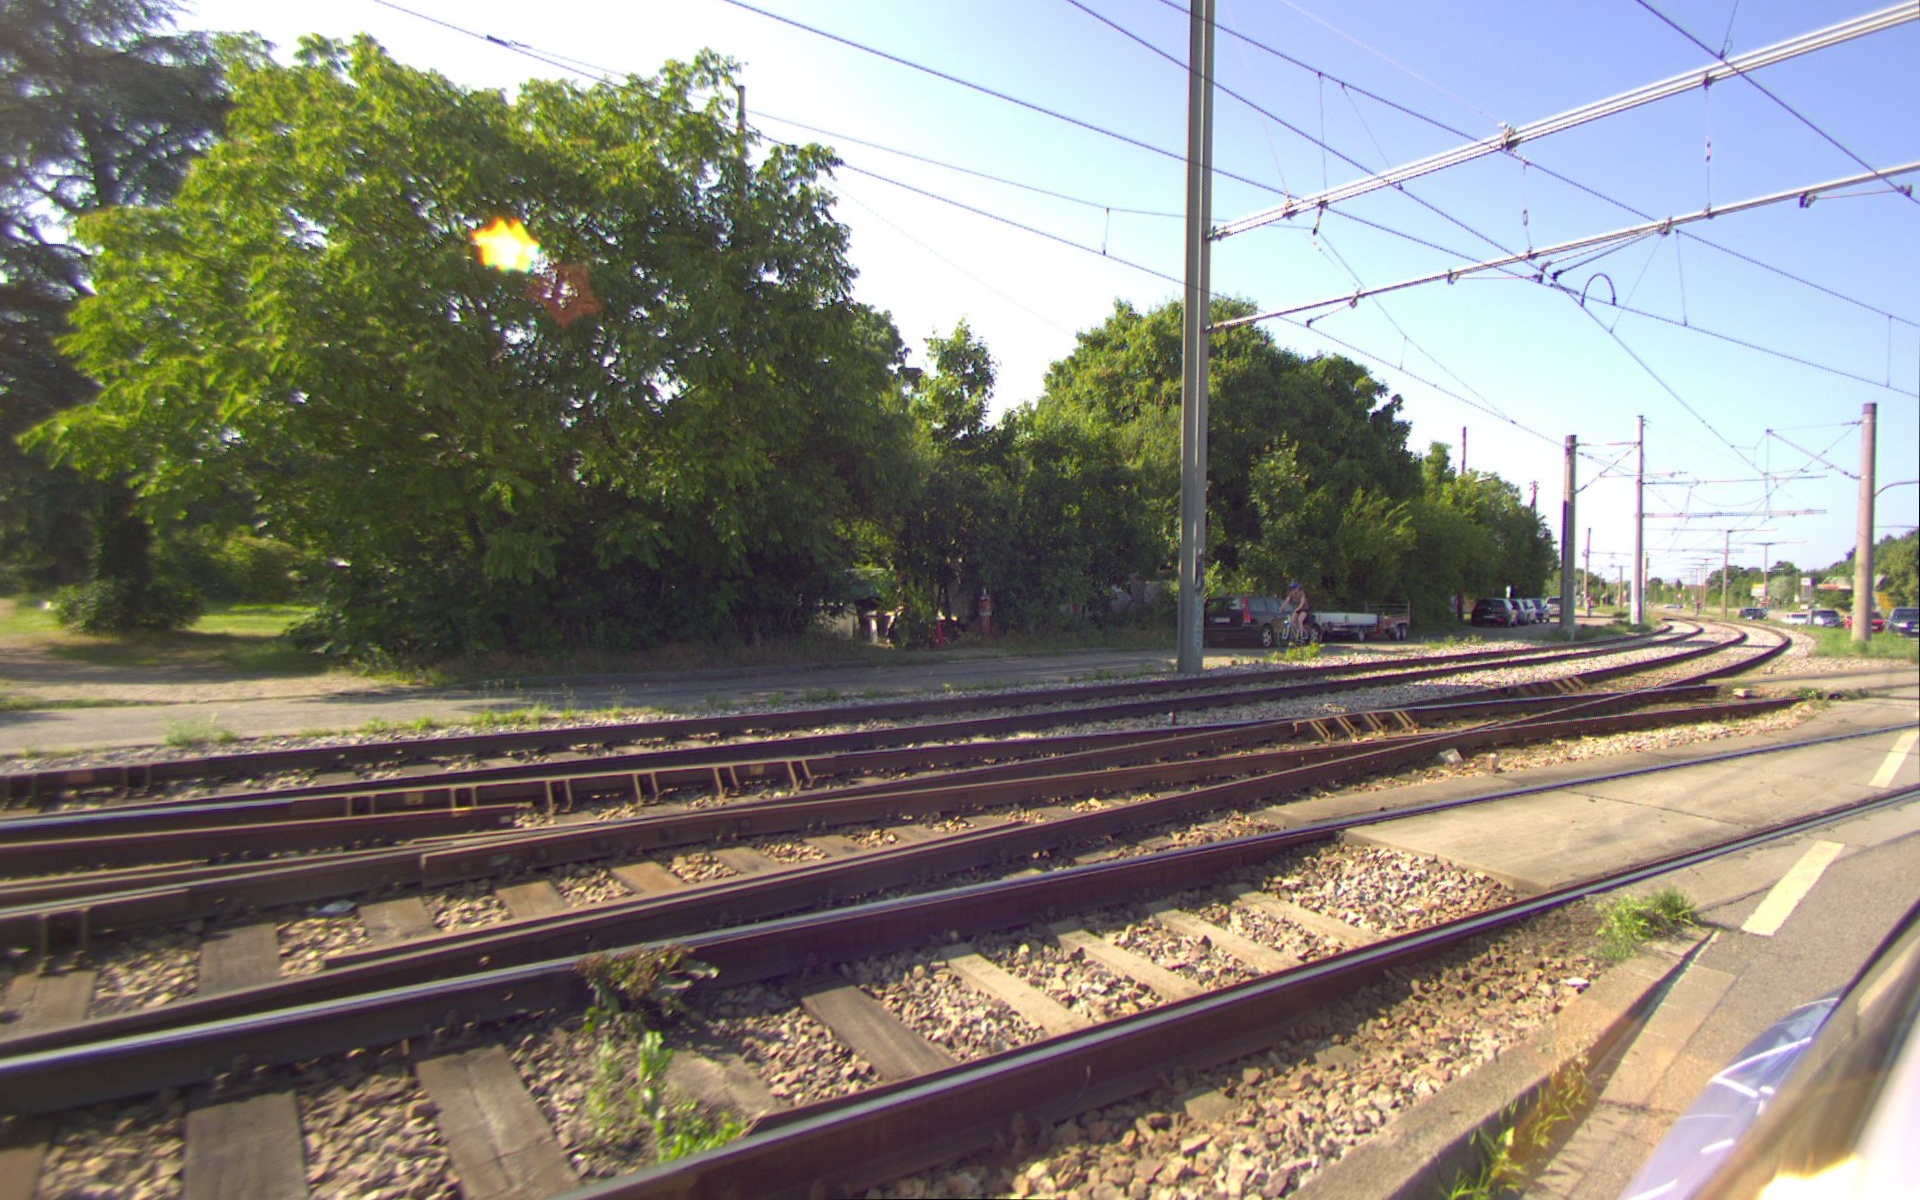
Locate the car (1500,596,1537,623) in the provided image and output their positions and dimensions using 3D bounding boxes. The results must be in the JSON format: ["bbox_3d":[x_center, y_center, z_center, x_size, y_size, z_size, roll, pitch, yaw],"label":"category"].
[{"bbox_3d":[30.722,0.505,55.624,1.479,1.418,4.100,2,1,33],"label":"car"}]

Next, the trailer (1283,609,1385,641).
[{"bbox_3d":[12.091,0.798,32.594,1.731,0.951,3.668,-2,-2,45],"label":"trailer"}]

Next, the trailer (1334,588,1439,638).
[{"bbox_3d":[14.944,0.452,35.374,2.026,1.617,4.192,-1,-1,44],"label":"trailer"}]

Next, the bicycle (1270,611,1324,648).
[{"bbox_3d":[8.906,0.771,26.728,0.643,0.921,1.814,1,0,44],"label":"bicycle"}]

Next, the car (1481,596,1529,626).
[{"bbox_3d":[27.879,0.541,51.696,1.618,1.428,4.462,0,0,36],"label":"car"}]

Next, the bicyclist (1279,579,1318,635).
[{"bbox_3d":[8.941,0.188,26.750,0.629,1.440,0.947,1,0,44],"label":"bicyclist"}]

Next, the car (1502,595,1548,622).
[{"bbox_3d":[33.384,0.491,59.734,1.706,1.483,4.328,2,1,38],"label":"car"}]

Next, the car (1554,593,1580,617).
[{"bbox_3d":[44.249,0.377,73.746,1.515,1.630,4.434,3,1,31],"label":"car"}]

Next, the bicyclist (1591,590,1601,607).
[{"bbox_3d":[49.386,-0.118,78.542,0.636,1.248,0.782,1,0,32],"label":"bicyclist"}]

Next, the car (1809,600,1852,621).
[{"bbox_3d":[63.544,0.770,73.907,1.595,1.532,4.221,0,-1,30],"label":"car"}]

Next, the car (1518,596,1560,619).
[{"bbox_3d":[36.915,0.502,64.473,1.675,1.448,3.854,0,-1,40],"label":"car"}]

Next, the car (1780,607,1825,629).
[{"bbox_3d":[68.358,1.411,82.168,1.952,1.639,4.265,2,1,28],"label":"car"}]

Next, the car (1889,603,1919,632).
[{"bbox_3d":[46.353,0.832,48.895,1.839,1.373,4.096,0,-1,38],"label":"car"}]

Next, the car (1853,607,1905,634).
[{"bbox_3d":[57.266,1.268,63.133,1.836,1.616,3.693,0,-1,33],"label":"car"}]

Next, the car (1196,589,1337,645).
[{"bbox_3d":[8.855,0.490,28.977,4.798,1.475,1.700,1,-2,-43],"label":"car"}]

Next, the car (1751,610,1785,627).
[{"bbox_3d":[76.535,1.705,95.914,1.821,1.532,4.111,0,-1,28],"label":"car"}]

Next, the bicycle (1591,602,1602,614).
[{"bbox_3d":[49.338,0.624,78.464,0.640,0.921,1.793,1,0,31],"label":"bicycle"}]
